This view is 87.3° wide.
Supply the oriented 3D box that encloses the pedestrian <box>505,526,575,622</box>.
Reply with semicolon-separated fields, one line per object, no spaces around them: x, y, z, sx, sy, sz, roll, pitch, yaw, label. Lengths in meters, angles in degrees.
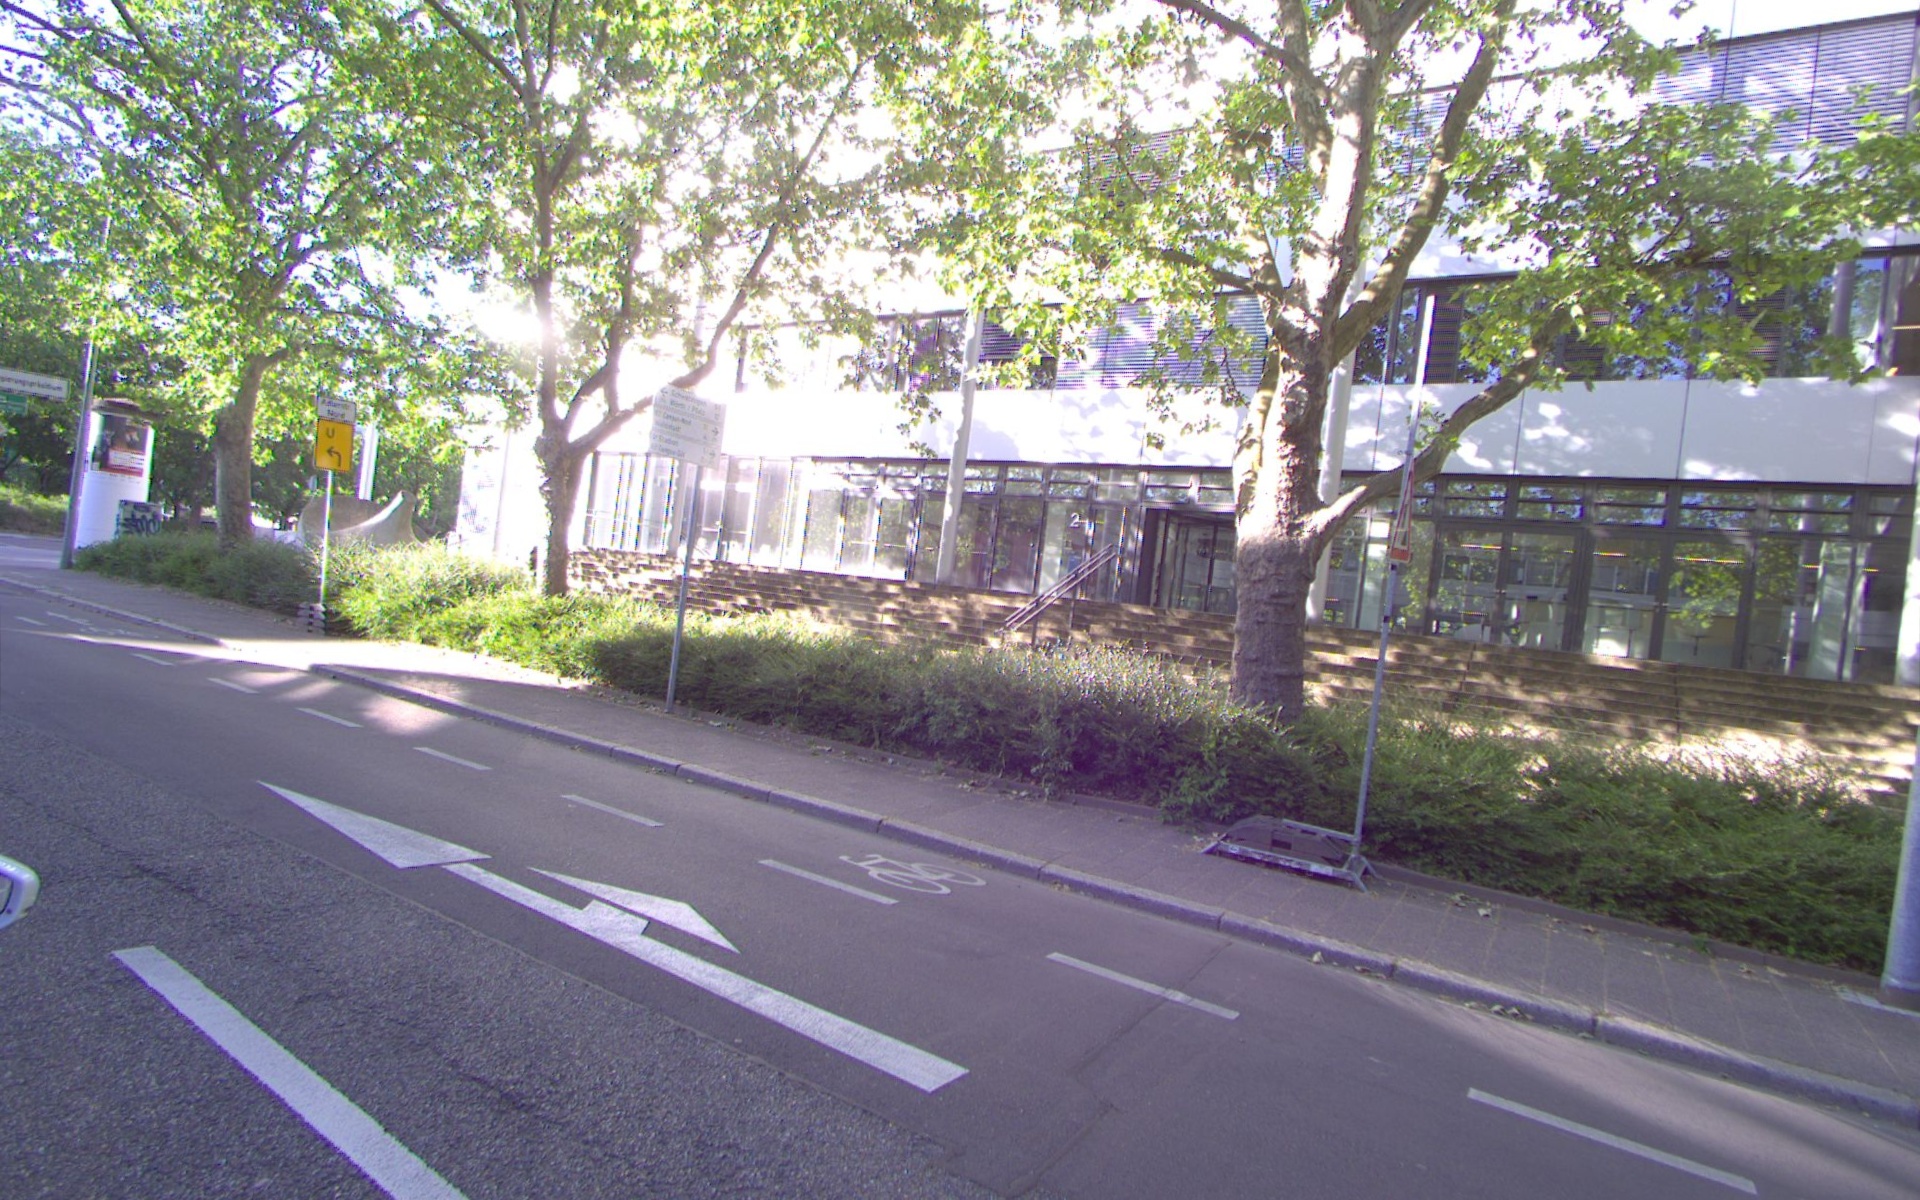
-8.558;-0.524;20.516;0.848;1.802;0.785;7;0;30;pedestrian
